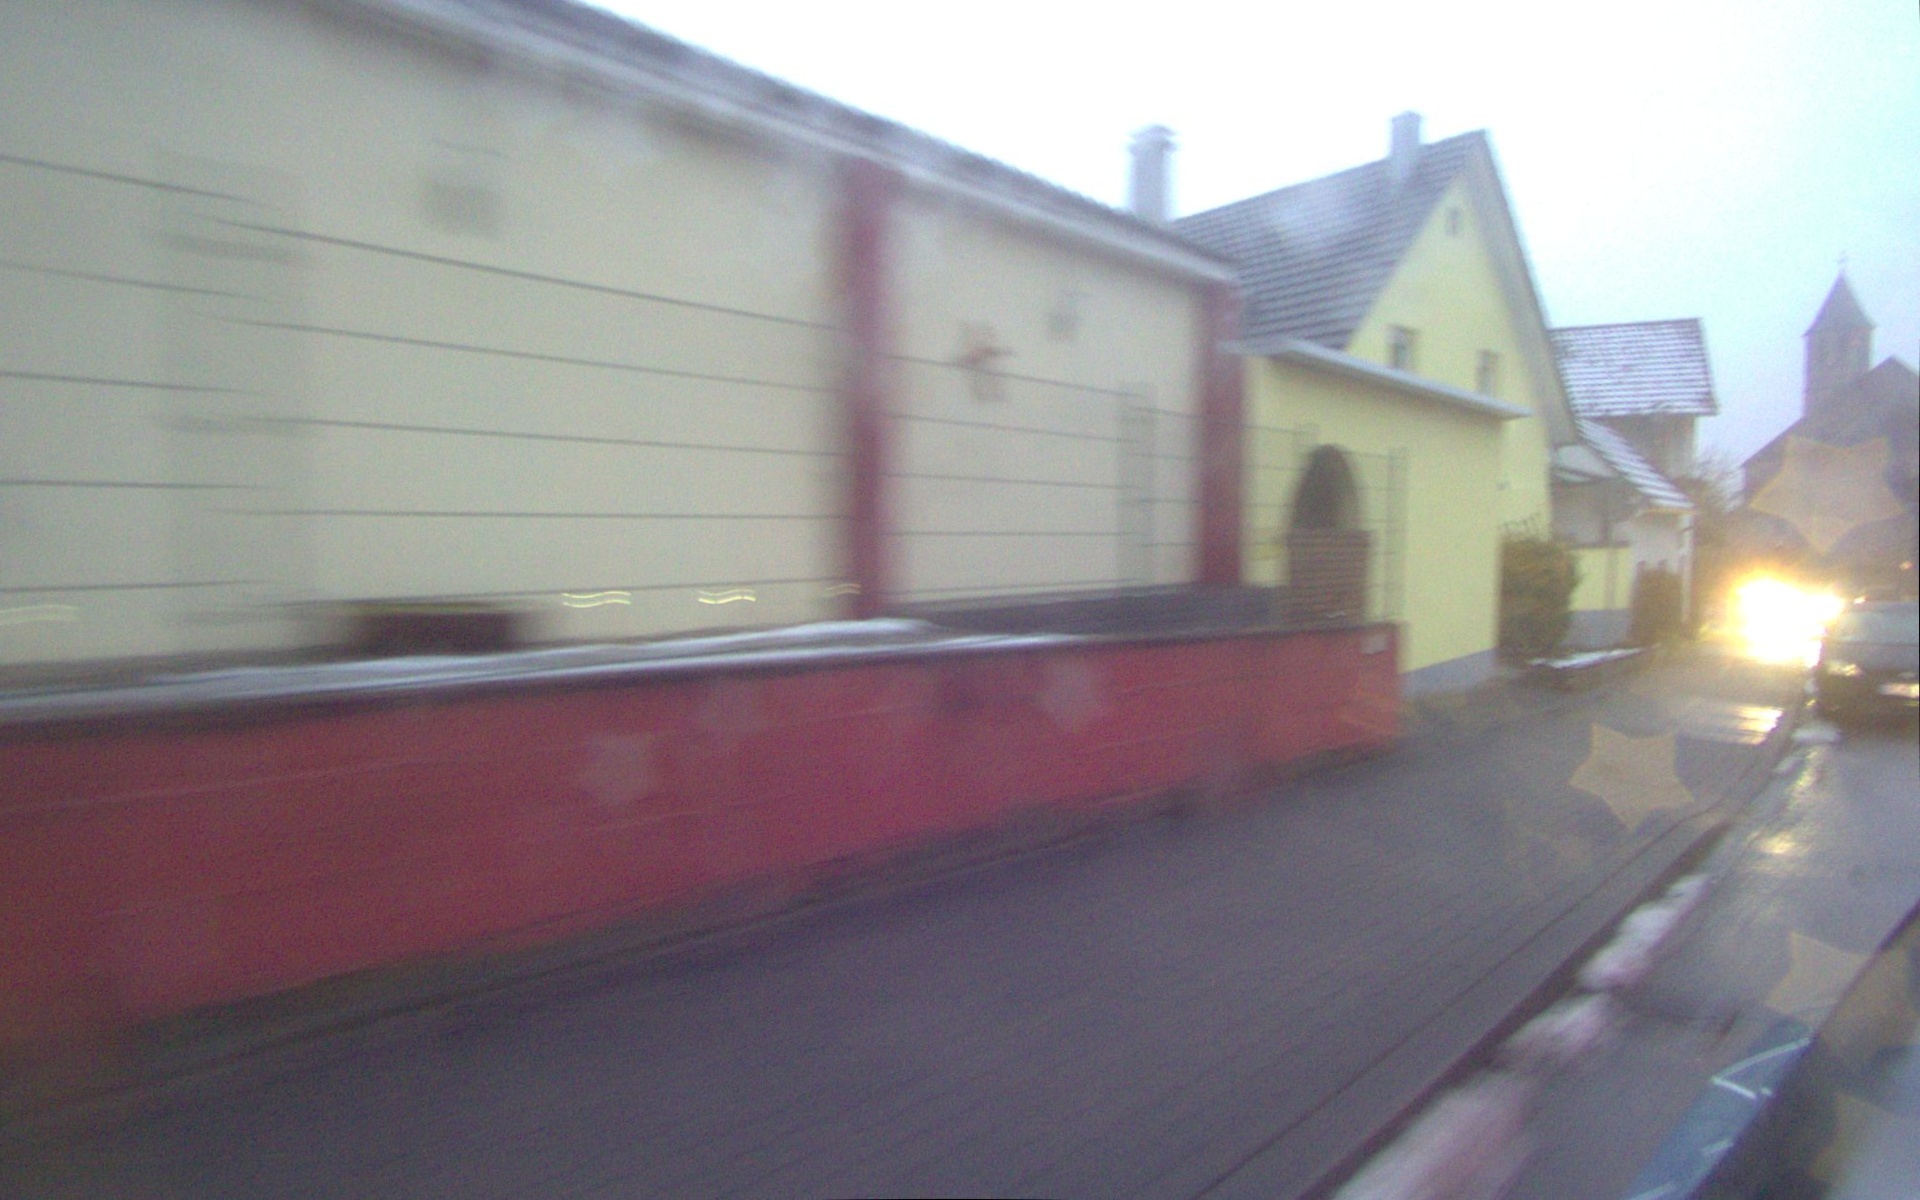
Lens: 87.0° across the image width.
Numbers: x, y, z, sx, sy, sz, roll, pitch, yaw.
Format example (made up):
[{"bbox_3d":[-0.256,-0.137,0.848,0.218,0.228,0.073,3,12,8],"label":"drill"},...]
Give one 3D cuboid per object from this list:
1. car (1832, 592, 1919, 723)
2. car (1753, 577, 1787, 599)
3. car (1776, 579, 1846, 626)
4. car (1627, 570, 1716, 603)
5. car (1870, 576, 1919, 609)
[{"bbox_3d":[12.789,0.659,13.493,1.724,1.449,4.728,0,1,41],"label":"car"},{"bbox_3d":[56.992,-0.852,71.191,1.758,1.516,3.941,0,1,41],"label":"car"},{"bbox_3d":[39.298,0.072,46.831,1.986,2.038,3.953,1,2,33],"label":"car"},{"bbox_3d":[40.683,-0.800,57.995,3.965,1.816,1.980,1,2,30],"label":"car"},{"bbox_3d":[48.424,-0.415,52.103,1.989,1.649,3.947,1,2,37],"label":"car"}]
